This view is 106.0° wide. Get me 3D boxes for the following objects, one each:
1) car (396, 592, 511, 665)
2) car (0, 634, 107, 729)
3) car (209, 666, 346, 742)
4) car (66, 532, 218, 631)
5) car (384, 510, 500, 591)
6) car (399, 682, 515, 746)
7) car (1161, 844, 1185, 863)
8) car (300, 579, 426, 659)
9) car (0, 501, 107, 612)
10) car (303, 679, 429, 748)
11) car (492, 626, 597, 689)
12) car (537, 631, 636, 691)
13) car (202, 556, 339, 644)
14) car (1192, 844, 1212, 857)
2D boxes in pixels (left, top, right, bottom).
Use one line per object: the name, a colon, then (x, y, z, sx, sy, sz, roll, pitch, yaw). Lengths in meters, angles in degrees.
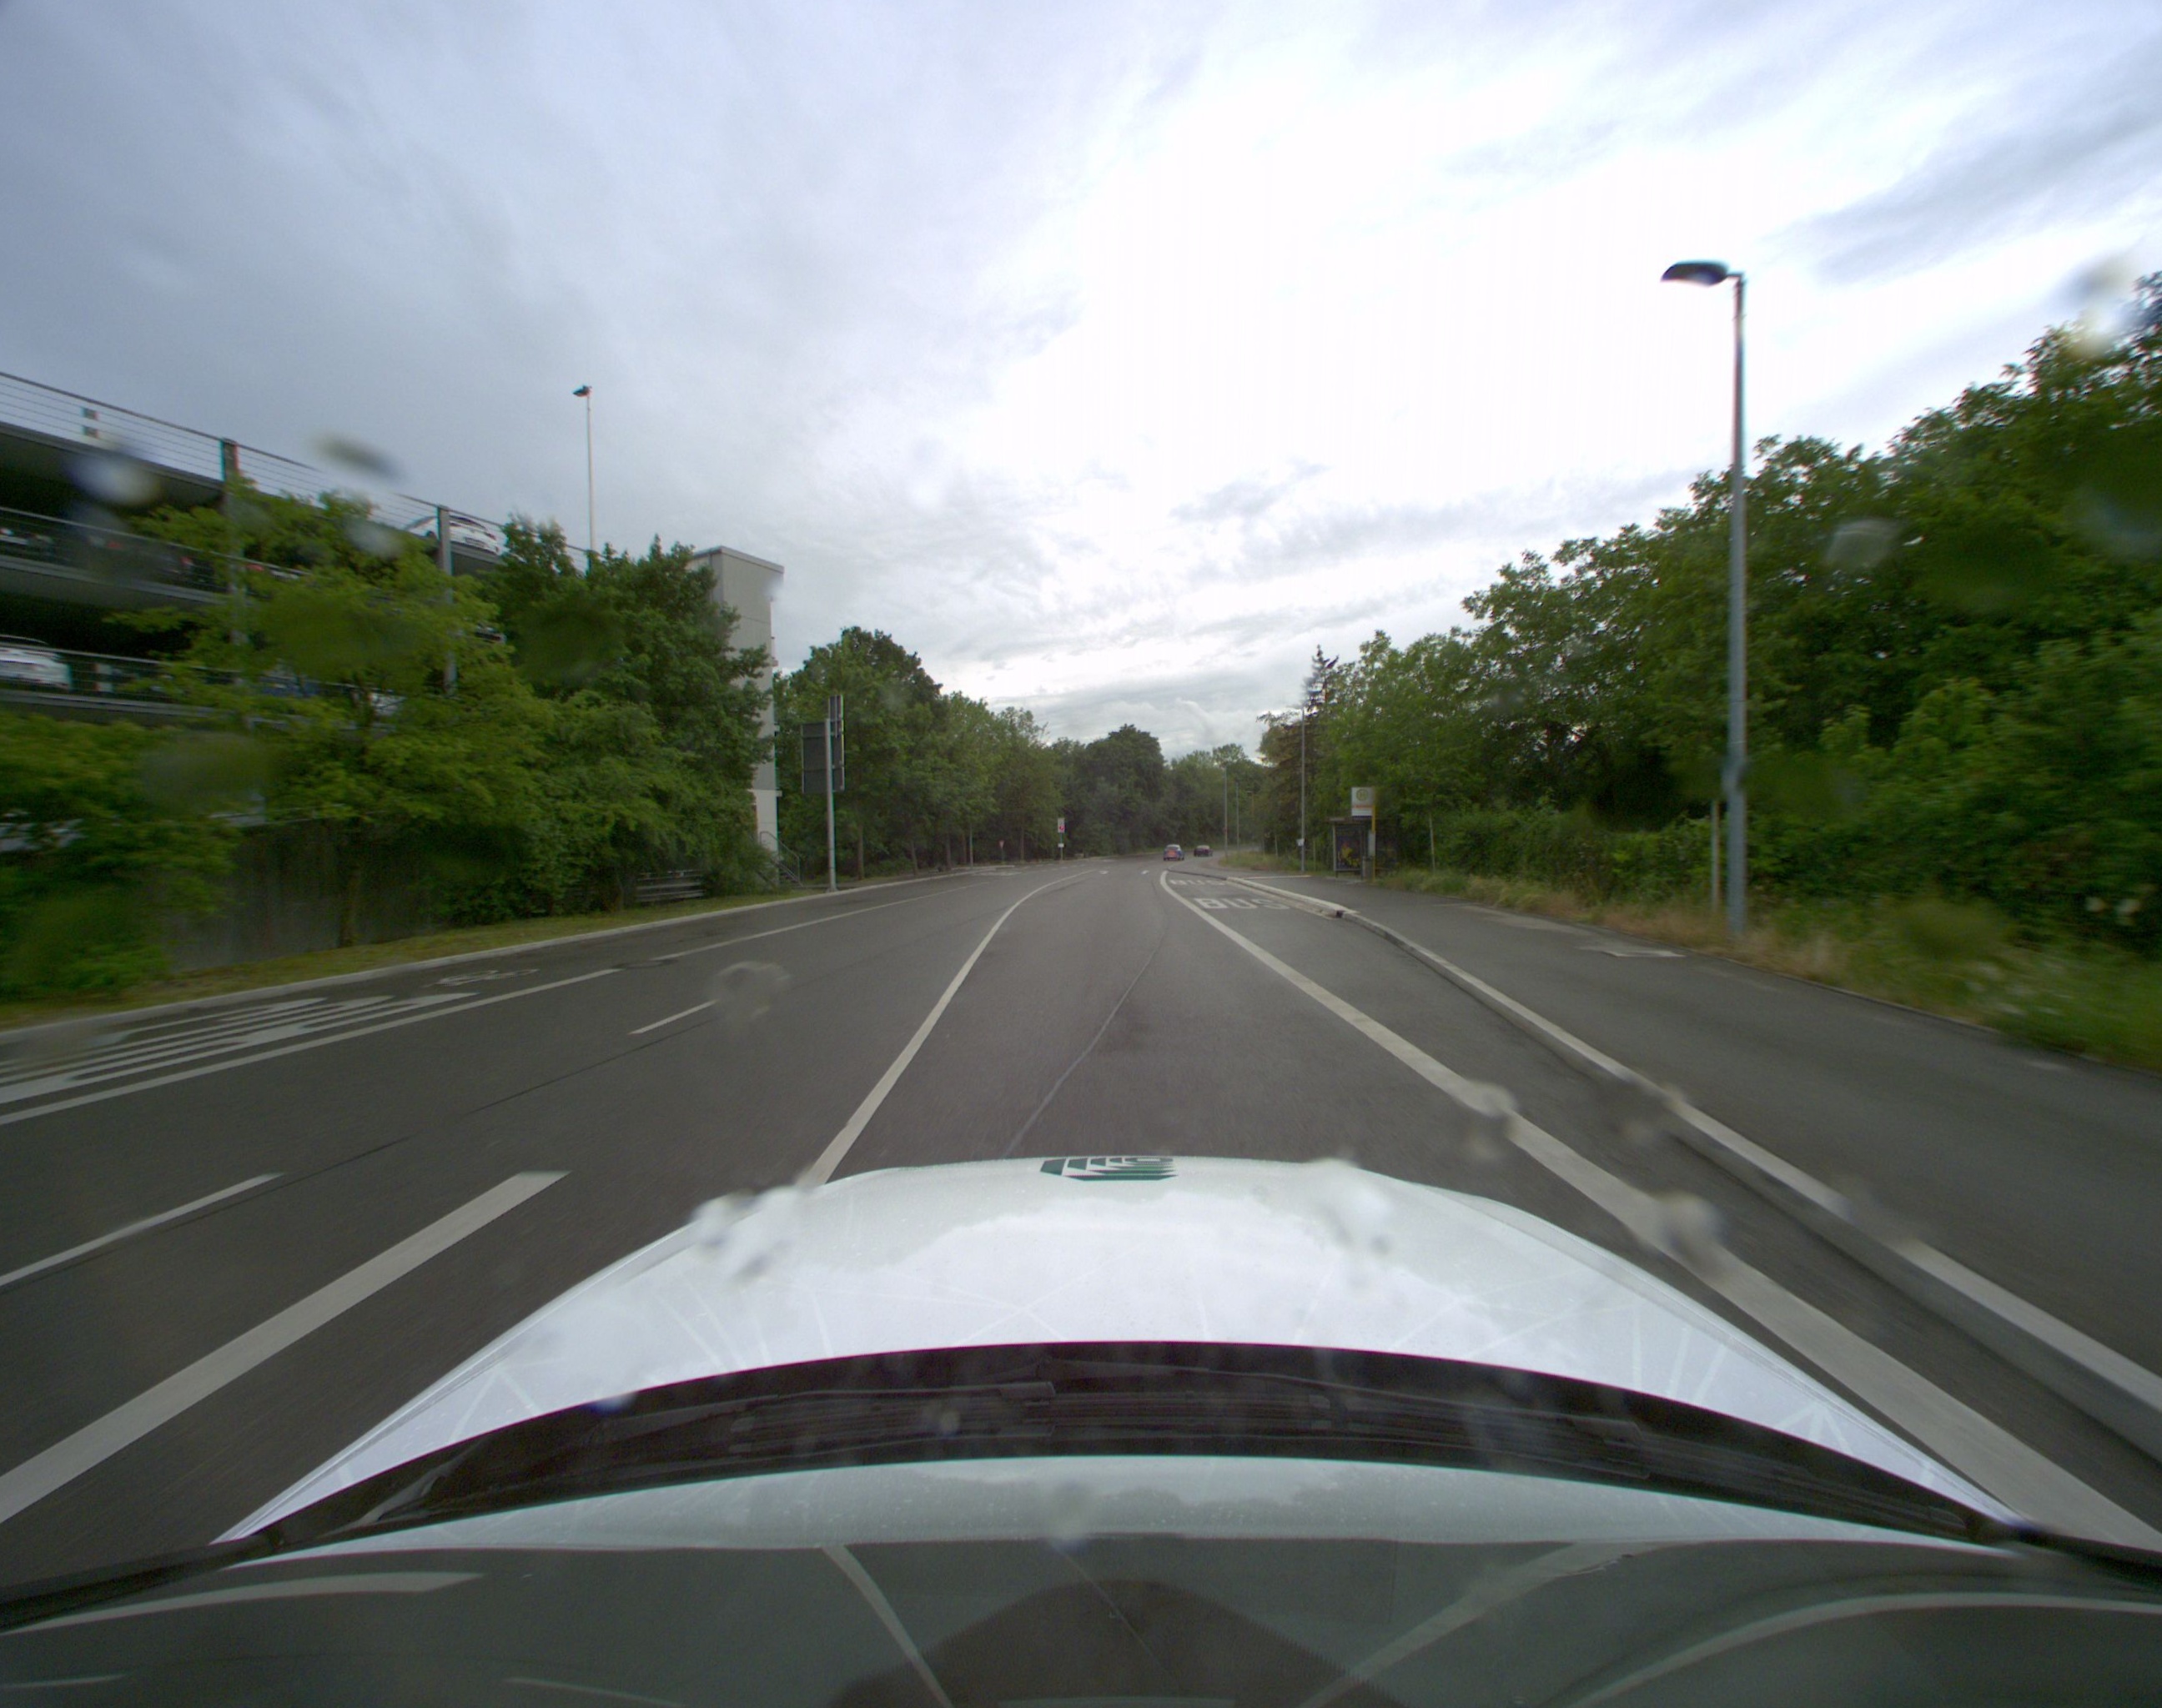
car: (-20.576, -7.328, 26.702, 3.204, 1.519, 1.595, -3, 0, 23)
car: (-24.415, -3.913, 18.795, 3.204, 1.519, 1.595, -3, 0, 23)
car: (-22.411, -4.131, 22.722, 3.204, 1.519, 1.595, -3, 0, 23)
car: (-23.927, -6.857, 20.761, 3.204, 1.519, 1.595, -3, 0, 23)
car: (-20.837, -9.829, 26.578, 3.204, 1.519, 1.595, -3, 0, 23)
car: (-20.456, -4.548, 26.701, 3.204, 1.519, 1.595, -3, 0, 23)
car: (9.312, -0.082, 82.396, 1.980, 1.689, 4.013, -2, 2, 11)
car: (-21.710, -7.037, 24.627, 3.204, 1.519, 1.595, -3, 0, 23)
car: (-24.438, -6.801, 18.823, 3.204, 1.519, 1.595, -3, 0, 23)
car: (-21.608, -4.196, 24.616, 3.204, 1.519, 1.595, -3, 0, 23)
car: (-19.393, -7.041, 29.449, 3.204, 1.519, 1.595, -3, 0, 23)
car: (-18.813, -7.293, 30.983, 3.204, 1.519, 1.595, -3, 0, 23)
car: (-22.635, -7.025, 22.762, 3.204, 1.519, 1.595, -3, 0, 23)
car: (15.261, -0.427, 102.385, 1.912, 1.486, 3.817, -2, 2, 17)
